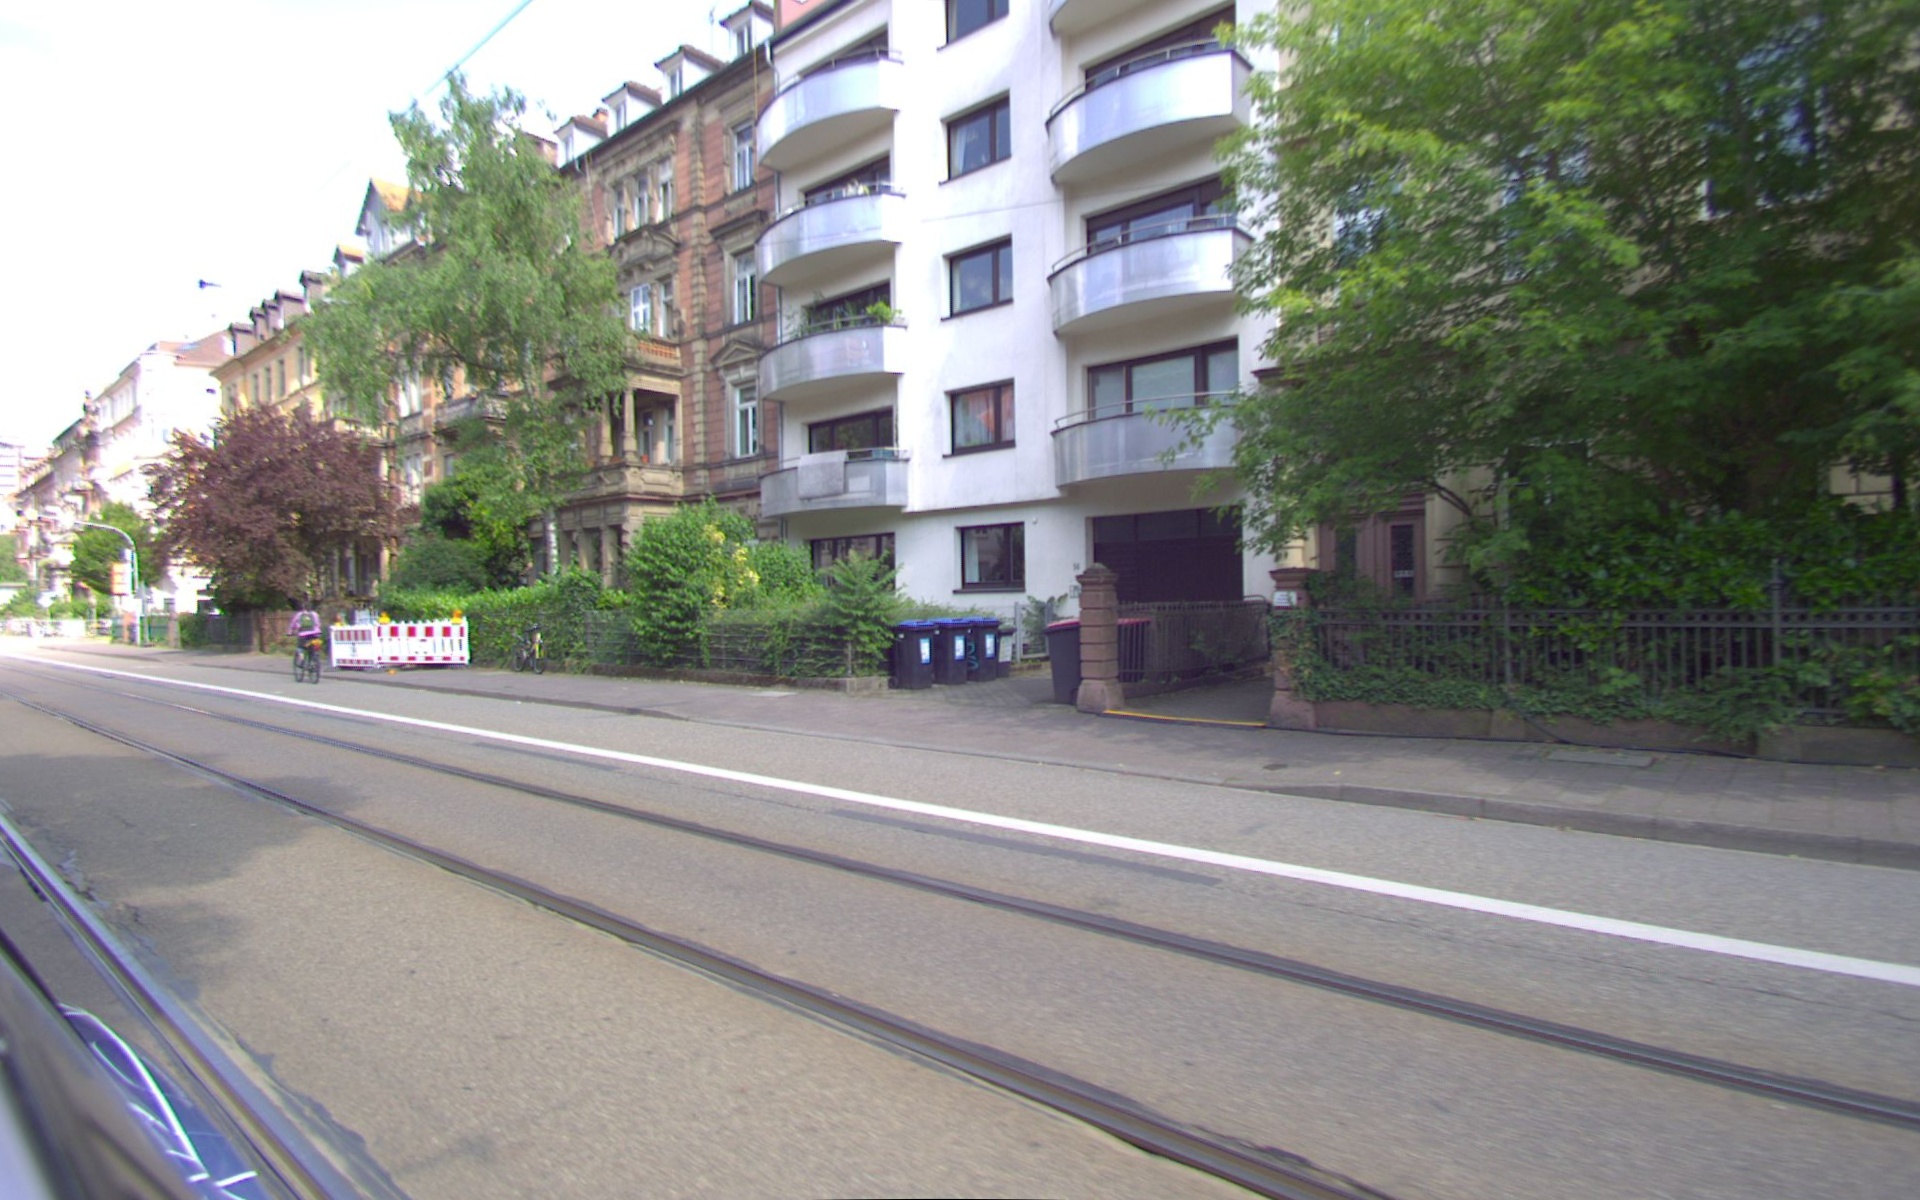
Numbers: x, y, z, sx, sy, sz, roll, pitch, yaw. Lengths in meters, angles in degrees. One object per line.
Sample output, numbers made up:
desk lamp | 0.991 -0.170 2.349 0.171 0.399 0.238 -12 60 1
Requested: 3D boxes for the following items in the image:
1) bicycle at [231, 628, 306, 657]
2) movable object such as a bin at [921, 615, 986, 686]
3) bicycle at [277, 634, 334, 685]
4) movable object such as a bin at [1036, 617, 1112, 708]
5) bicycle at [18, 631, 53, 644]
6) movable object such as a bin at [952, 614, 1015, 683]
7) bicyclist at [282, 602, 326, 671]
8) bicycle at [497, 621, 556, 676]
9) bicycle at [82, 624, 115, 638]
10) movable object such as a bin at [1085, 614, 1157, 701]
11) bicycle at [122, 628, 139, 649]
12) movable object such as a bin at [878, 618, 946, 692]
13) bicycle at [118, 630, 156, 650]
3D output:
bicycle | -24.196 1.475 35.454 0.586 0.944 2.106 -1 -1 40
movable object such as a bin | -0.111 0.816 16.596 0.733 1.116 0.765 -1 -1 41
bicycle | -13.895 1.242 21.462 1.918 0.997 0.563 -1 -1 43
movable object such as a bin | 1.477 0.786 13.080 0.732 1.116 0.661 -1 -1 38
bicycle | -64.688 2.618 70.813 1.724 0.948 0.485 1 -2 -25
movable object such as a bin | 0.399 0.812 17.188 0.733 1.116 0.765 -1 -1 41
bicyclist | -13.947 0.766 21.508 0.942 1.436 0.558 -1 -1 43
bicycle | -9.398 1.030 21.903 1.818 1.146 0.408 -1 -1 41
bicycle | -62.779 2.261 73.745 0.483 0.948 1.731 -1 -2 39
movable object such as a bin | 2.168 0.751 13.617 0.732 1.116 0.661 -1 -1 38
bicycle | -40.123 1.854 48.951 1.472 0.948 0.395 -5 -5 43
movable object such as a bin | -0.754 0.849 15.967 0.733 1.116 0.765 -1 -1 41
bicycle | -41.091 2.008 50.564 0.401 0.948 1.413 -5 -5 42
